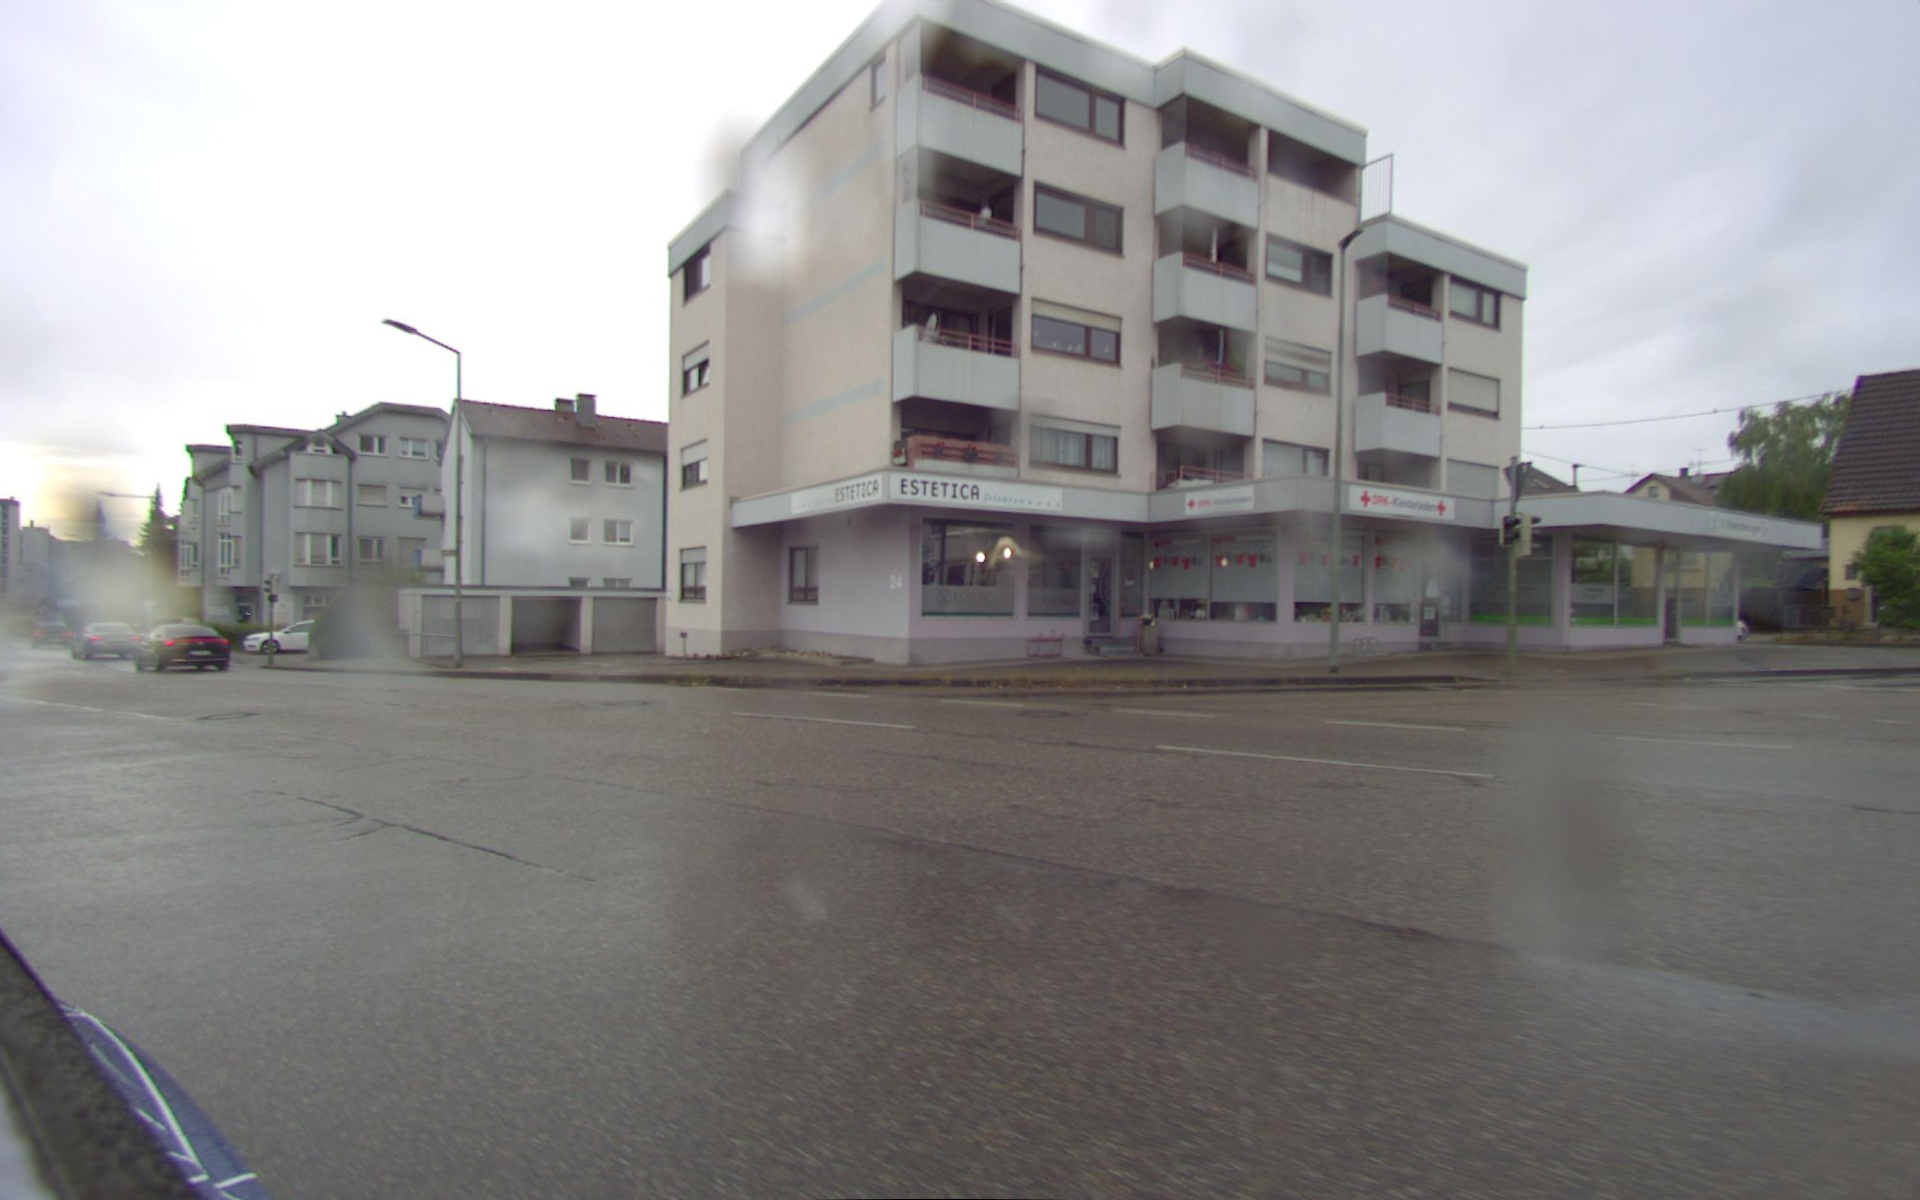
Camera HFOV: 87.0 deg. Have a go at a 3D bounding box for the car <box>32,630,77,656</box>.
[{"bbox_3d":[-53.882,2.523,60.209,1.767,1.483,4.165,0,-1,-45],"label":"car"}]

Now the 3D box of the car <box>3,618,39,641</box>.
[{"bbox_3d":[-78.683,2.457,84.836,2.071,1.847,4.739,0,-1,-42],"label":"car"}]

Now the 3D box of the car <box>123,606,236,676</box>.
[{"bbox_3d":[-24.438,1.235,31.623,4.650,2.029,1.973,-1,-1,41],"label":"car"}]

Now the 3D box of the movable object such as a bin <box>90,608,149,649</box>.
[{"bbox_3d":[-60.299,2.021,72.659,2.877,2.863,2.203,0,-1,-29],"label":"movable object such as a bin"}]

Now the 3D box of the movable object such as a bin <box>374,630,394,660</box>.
[{"bbox_3d":[-20.622,1.608,36.226,0.492,1.026,0.689,-5,3,-34],"label":"movable object such as a bin"}]

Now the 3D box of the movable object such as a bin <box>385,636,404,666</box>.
[{"bbox_3d":[-18.908,1.704,33.820,0.492,0.968,0.603,0,-1,-34],"label":"movable object such as a bin"}]

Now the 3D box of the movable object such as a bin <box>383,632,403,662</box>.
[{"bbox_3d":[-19.483,1.602,34.792,0.492,0.968,0.536,-5,3,-34],"label":"movable object such as a bin"}]

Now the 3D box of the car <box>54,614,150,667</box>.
[{"bbox_3d":[-36.316,1.700,42.772,5.974,2.029,2.069,-2,0,40],"label":"car"}]

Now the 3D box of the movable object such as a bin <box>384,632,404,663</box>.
[{"bbox_3d":[-19.198,1.601,34.323,0.492,0.968,0.536,-5,3,-34],"label":"movable object such as a bin"}]

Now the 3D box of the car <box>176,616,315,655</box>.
[{"bbox_3d":[-34.411,1.668,48.824,5.391,1.697,2.152,0,-1,-37],"label":"car"}]

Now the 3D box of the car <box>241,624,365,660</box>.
[{"bbox_3d":[-29.772,1.866,45.934,4.553,1.508,1.933,0,-1,-40],"label":"car"}]
